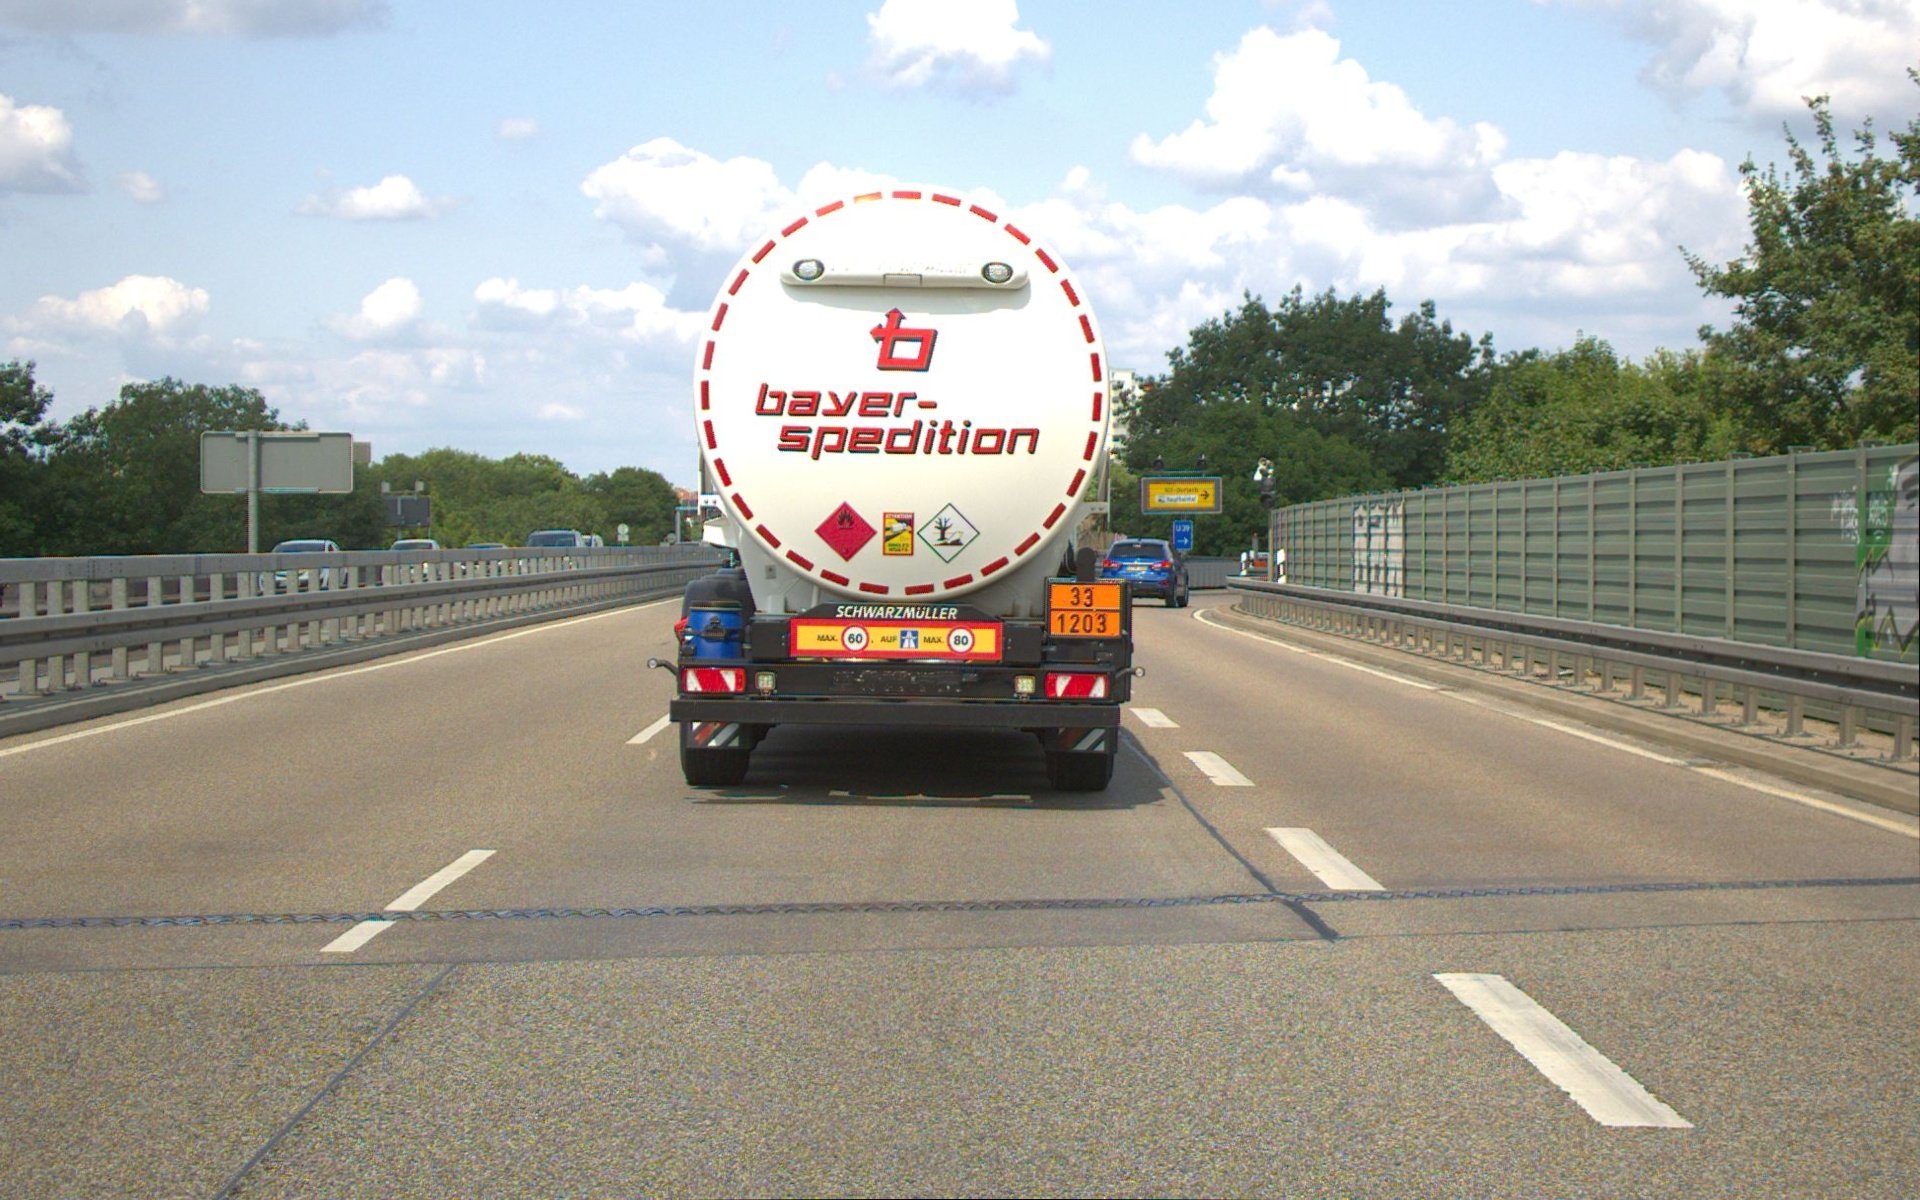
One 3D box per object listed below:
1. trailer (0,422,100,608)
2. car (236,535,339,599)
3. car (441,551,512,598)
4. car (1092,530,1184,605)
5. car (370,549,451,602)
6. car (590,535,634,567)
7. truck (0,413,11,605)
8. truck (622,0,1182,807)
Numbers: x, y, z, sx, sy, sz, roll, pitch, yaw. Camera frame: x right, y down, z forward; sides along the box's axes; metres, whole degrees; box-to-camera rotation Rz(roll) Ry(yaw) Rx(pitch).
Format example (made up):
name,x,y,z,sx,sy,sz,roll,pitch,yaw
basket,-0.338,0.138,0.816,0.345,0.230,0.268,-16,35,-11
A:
name,x,y,z,sx,sy,sz,roll,pitch,yaw
trailer,-20.351,-1.745,71.038,2.684,3.657,11.030,1,1,-2
car,-16.662,-0.818,85.291,1.782,1.503,3.960,1,1,-1
car,-16.611,-0.902,118.348,1.923,1.568,4.245,-1,1,-1
car,4.294,-0.781,82.236,1.994,1.700,3.999,2,1,5
car,-16.846,-0.761,105.584,1.923,1.568,3.887,1,1,-1
car,-17.785,-2.499,175.642,1.923,1.568,3.887,-1,1,-1
truck,-20.060,-1.773,65.047,2.648,3.769,6.233,1,1,-3
truck,-0.370,-1.157,22.469,2.895,4.354,8.030,1,1,-1
